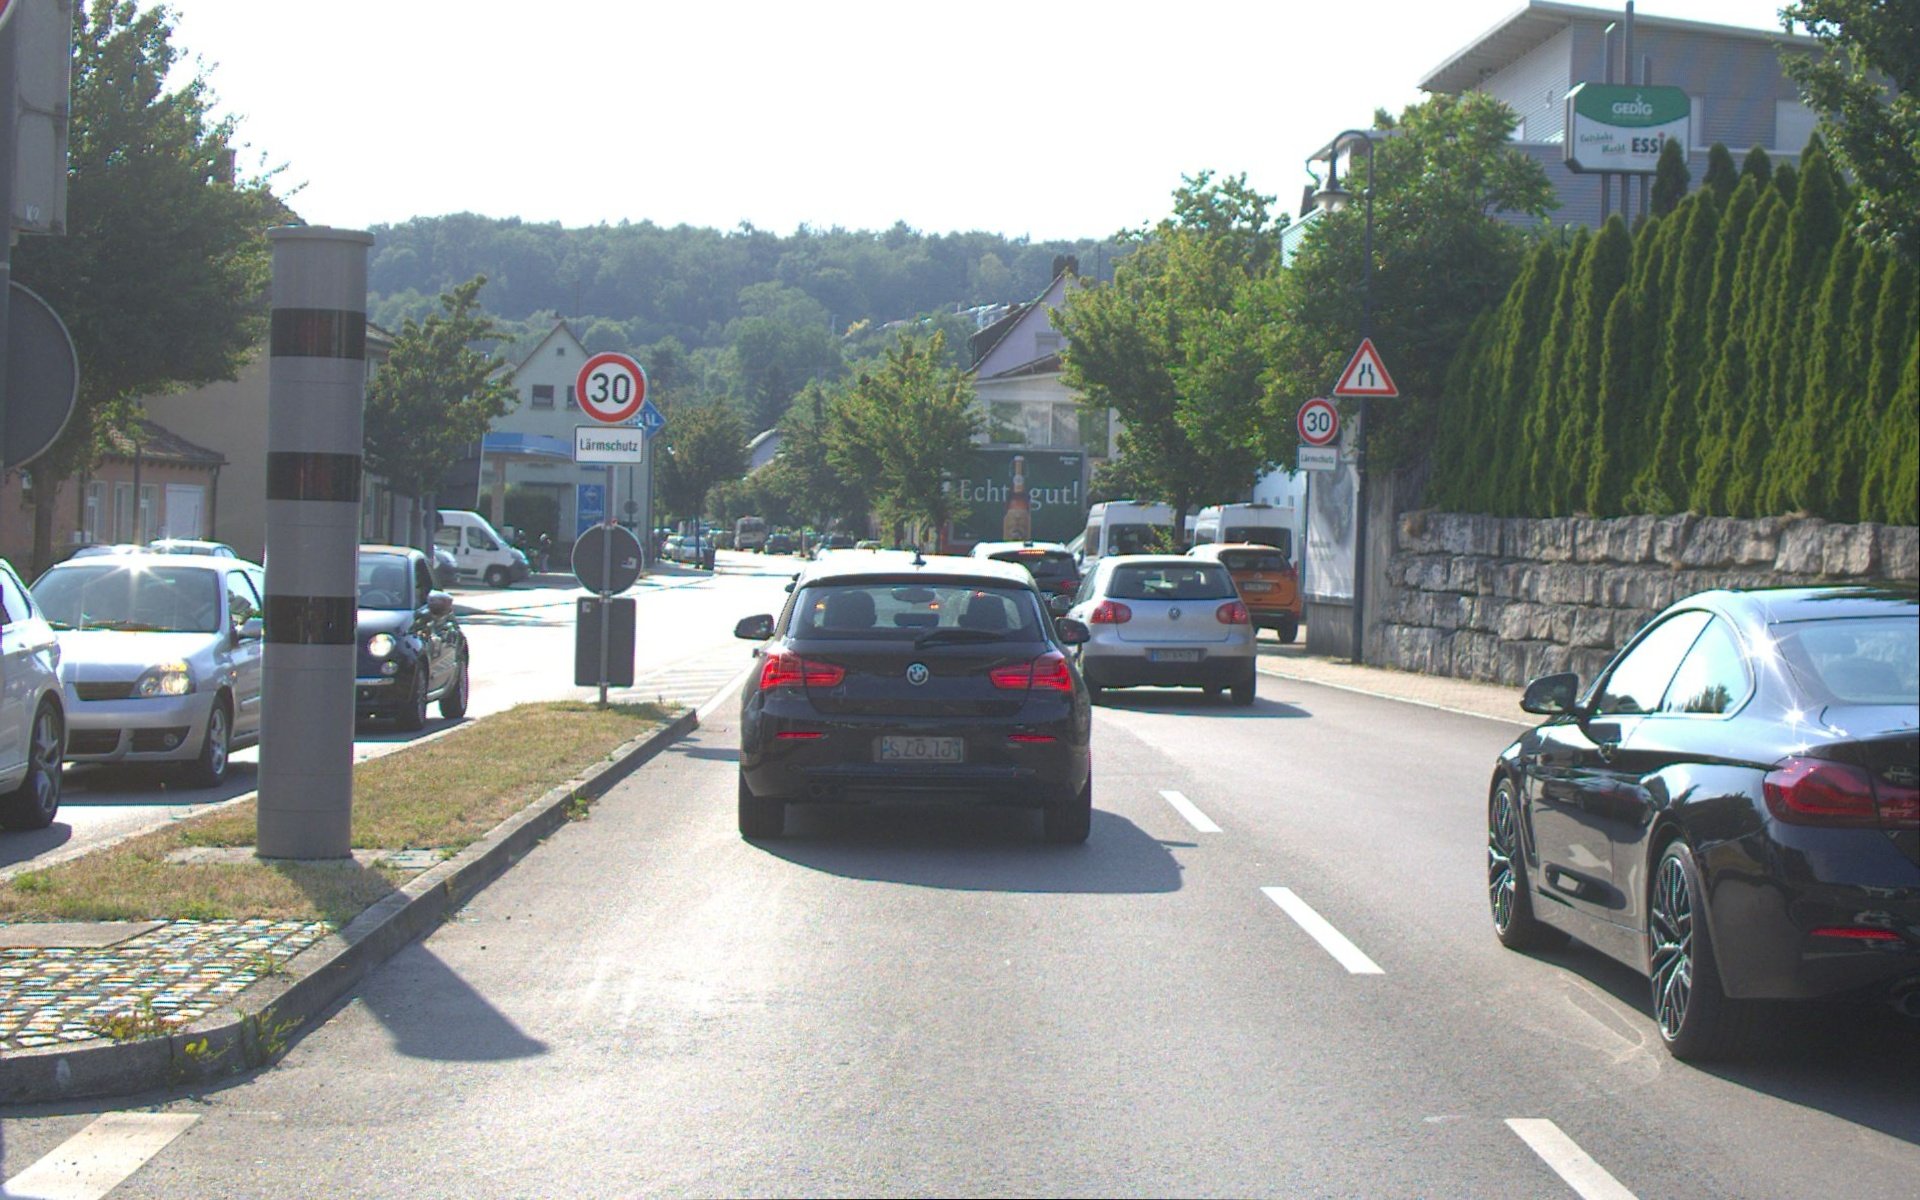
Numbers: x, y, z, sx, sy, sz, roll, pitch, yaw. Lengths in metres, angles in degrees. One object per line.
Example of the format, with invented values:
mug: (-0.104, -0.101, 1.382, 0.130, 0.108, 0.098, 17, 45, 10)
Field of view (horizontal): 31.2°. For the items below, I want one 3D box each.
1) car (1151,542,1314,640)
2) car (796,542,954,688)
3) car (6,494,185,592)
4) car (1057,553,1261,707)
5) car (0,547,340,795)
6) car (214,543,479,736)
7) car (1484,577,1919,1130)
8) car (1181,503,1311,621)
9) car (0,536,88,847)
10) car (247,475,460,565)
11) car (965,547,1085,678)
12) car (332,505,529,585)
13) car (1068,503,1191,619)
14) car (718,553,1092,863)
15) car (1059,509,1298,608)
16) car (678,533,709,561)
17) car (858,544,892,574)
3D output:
car: (4.781, -0.198, 61.018, 1.834, 1.643, 4.540, 1, 1, -9)
car: (-1.054, 0.140, 40.767, 1.591, 1.595, 3.894, 1, 1, -5)
car: (-14.468, -0.942, 57.717, 1.666, 1.482, 3.999, 4, 1, 4)
car: (1.949, 0.261, 34.549, 1.753, 1.409, 3.422, 1, 1, -1)
car: (-5.091, 0.392, 21.725, 1.589, 1.422, 3.578, 1, 1, 2)
car: (-5.014, 0.277, 28.461, 1.532, 1.457, 3.506, 1, 1, 0)
car: (2.876, 0.652, 11.100, 1.699, 1.364, 4.262, 0, 1, 0)
car: (6.869, -0.955, 83.258, 2.111, 2.712, 6.444, 1, 1, -4)
car: (-5.517, 0.448, 15.945, 1.835, 1.483, 4.567, 1, 1, -1)
car: (-18.256, -2.412, 103.649, 5.920, 2.471, 2.194, 2, 1, 2)
car: (0.902, 0.146, 49.129, 1.603, 1.761, 3.411, 1, 1, 0)
car: (-17.485, -1.821, 113.690, 6.158, 2.436, 2.250, 2, 1, -2)
car: (4.042, -0.982, 83.041, 2.149, 2.671, 6.604, 1, 1, -4)
car: (-0.298, 0.487, 18.056, 1.771, 1.451, 3.516, 0, 1, -1)
car: (5.770, -1.104, 91.022, 6.043, 2.507, 2.044, 1, 1, -4)
car: (-14.850, -2.946, 191.790, 1.596, 1.480, 3.475, 2, 1, -4)
car: (-4.455, -2.176, 179.773, 1.596, 1.480, 3.475, 2, 1, -4)
